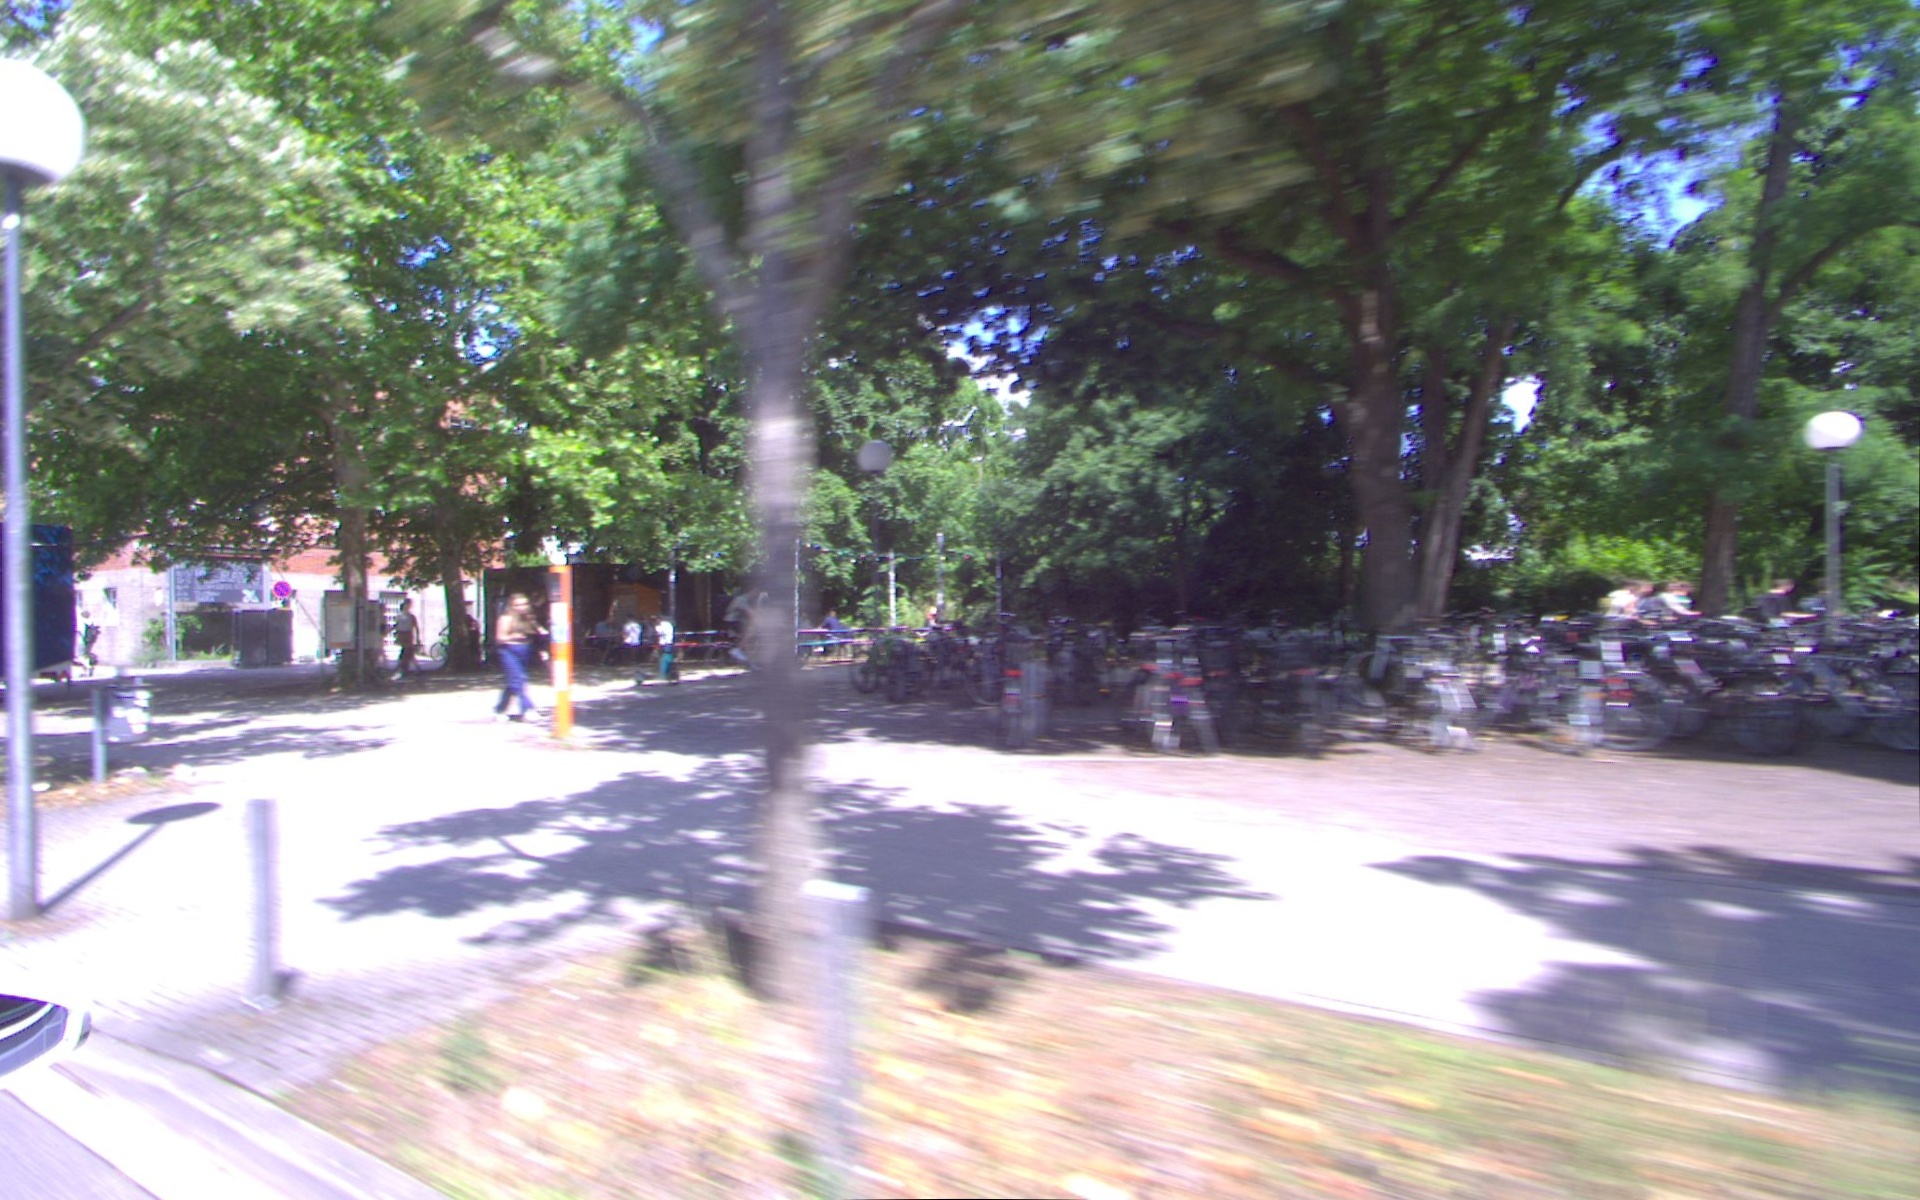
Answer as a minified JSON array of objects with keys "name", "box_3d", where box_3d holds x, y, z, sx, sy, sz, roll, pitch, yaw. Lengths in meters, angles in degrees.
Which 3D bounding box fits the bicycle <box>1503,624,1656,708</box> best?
[{"name":"bicycle","box_3d":[8.144,0.838,13.264,0.470,0.992,1.900,-1,0,-16]}]

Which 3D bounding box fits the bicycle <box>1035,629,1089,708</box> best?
[{"name":"bicycle","box_3d":[1.460,0.929,14.118,0.601,0.992,1.903,-1,0,10]}]

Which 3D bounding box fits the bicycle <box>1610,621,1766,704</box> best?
[{"name":"bicycle","box_3d":[9.659,0.791,13.377,0.469,0.992,1.902,-1,0,-10]}]

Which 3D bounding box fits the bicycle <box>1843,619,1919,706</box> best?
[{"name":"bicycle","box_3d":[12.528,0.808,12.929,0.469,1.097,1.903,-1,0,-4]}]

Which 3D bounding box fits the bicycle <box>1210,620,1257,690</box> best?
[{"name":"bicycle","box_3d":[4.238,0.825,15.602,0.469,0.992,1.903,-1,0,9]}]

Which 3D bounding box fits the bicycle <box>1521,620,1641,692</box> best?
[{"name":"bicycle","box_3d":[9.504,0.831,15.402,0.469,0.992,1.903,-1,0,-7]}]

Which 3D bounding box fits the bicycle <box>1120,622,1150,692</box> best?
[{"name":"bicycle","box_3d":[2.769,0.876,15.852,0.413,0.992,1.903,-1,0,10]}]

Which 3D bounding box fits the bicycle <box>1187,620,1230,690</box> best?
[{"name":"bicycle","box_3d":[3.881,0.833,15.702,0.469,0.992,1.903,-1,0,9]}]

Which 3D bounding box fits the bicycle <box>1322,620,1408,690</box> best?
[{"name":"bicycle","box_3d":[6.371,0.834,15.842,0.526,0.992,1.903,-1,0,-2]}]

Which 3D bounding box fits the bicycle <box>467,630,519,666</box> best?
[{"name":"bicycle","box_3d":[-15.610,1.592,33.467,1.997,1.154,0.572,-1,-1,32]}]

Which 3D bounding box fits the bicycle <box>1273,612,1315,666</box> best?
[{"name":"bicycle","box_3d":[7.188,0.819,21.603,0.469,1.108,1.753,-1,0,6]}]

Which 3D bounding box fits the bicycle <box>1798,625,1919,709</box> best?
[{"name":"bicycle","box_3d":[11.926,0.845,12.921,0.469,0.992,1.903,-1,0,-7]}]

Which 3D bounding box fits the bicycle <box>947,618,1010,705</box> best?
[{"name":"bicycle","box_3d":[0.296,0.846,14.380,0.601,1.133,1.903,-1,0,10]}]

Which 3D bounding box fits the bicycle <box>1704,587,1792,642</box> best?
[{"name":"bicycle","box_3d":[16.619,0.292,21.155,0.469,1.108,1.611,-1,0,-6]}]

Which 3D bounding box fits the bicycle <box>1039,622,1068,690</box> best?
[{"name":"bicycle","box_3d":[1.508,0.885,16.312,0.413,0.992,1.903,-1,0,4]}]

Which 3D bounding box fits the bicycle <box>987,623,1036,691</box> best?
[{"name":"bicycle","box_3d":[0.863,0.897,16.353,0.469,0.992,1.902,-1,0,12]}]

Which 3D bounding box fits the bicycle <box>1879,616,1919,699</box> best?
[{"name":"bicycle","box_3d":[13.105,0.770,13.017,0.469,1.097,1.903,-1,0,-4]}]

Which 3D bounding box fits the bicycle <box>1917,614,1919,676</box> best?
[{"name":"bicycle","box_3d":[15.534,0.710,15.133,0.371,0.992,1.903,-1,0,2]}]

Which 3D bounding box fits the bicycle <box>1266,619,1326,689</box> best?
[{"name":"bicycle","box_3d":[5.220,0.808,15.637,0.601,0.992,1.903,-1,0,10]}]

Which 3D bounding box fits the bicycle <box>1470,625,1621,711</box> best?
[{"name":"bicycle","box_3d":[7.601,0.847,13.105,0.470,0.992,1.900,-1,0,-16]}]

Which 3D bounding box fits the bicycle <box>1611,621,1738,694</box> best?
[{"name":"bicycle","box_3d":[10.731,0.834,15.121,0.371,0.992,1.903,-1,0,-7]}]

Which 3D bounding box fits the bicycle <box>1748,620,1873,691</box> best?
[{"name":"bicycle","box_3d":[13.092,0.818,15.482,0.371,0.992,1.903,-1,0,2]}]

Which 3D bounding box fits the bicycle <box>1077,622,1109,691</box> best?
[{"name":"bicycle","box_3d":[2.130,0.879,16.142,0.469,0.992,1.903,-1,0,7]}]

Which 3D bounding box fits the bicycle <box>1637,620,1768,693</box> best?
[{"name":"bicycle","box_3d":[11.141,0.814,15.104,0.371,0.992,1.903,-1,0,-7]}]

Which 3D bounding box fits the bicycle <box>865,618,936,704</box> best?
[{"name":"bicycle","box_3d":[-0.835,0.844,14.518,0.601,1.133,1.808,-1,0,10]}]

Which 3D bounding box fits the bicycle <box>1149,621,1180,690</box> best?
[{"name":"bicycle","box_3d":[3.244,0.848,15.939,0.413,0.992,1.903,-1,0,10]}]

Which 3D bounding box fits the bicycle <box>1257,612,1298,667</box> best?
[{"name":"bicycle","box_3d":[6.847,0.825,21.633,0.469,1.108,1.753,-1,0,6]}]

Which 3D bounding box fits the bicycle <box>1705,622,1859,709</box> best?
[{"name":"bicycle","box_3d":[10.598,0.810,12.999,0.469,0.992,1.903,-1,0,2]}]

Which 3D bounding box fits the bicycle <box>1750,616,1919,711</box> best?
[{"name":"bicycle","box_3d":[11.187,0.767,12.853,0.469,1.097,1.903,-1,0,-4]}]

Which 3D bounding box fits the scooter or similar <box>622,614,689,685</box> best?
[{"name":"scooter or similar","box_3d":[-5.474,0.877,17.987,1.276,1.234,0.423,-1,-1,33]}]

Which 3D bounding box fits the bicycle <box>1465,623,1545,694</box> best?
[{"name":"bicycle","box_3d":[8.390,0.869,15.488,0.434,0.992,1.903,-1,0,8]}]

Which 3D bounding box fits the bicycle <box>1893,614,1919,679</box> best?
[{"name":"bicycle","box_3d":[15.108,0.728,15.080,0.371,0.992,1.903,-1,0,2]}]

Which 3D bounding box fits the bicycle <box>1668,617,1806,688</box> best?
[{"name":"bicycle","box_3d":[11.851,0.775,15.363,0.469,0.992,1.903,-1,0,-7]}]

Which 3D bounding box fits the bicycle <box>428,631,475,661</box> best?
[{"name":"bicycle","box_3d":[-18.935,1.694,37.313,0.609,1.094,2.027,0,-1,4]}]

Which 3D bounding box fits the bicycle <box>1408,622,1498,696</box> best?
[{"name":"bicycle","box_3d":[7.419,0.858,15.151,0.469,0.992,1.903,-1,0,2]}]

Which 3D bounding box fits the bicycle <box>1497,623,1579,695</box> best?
[{"name":"bicycle","box_3d":[8.879,0.877,15.447,0.300,0.992,1.885,-1,0,4]}]

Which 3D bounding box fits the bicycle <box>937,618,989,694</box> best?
[{"name":"bicycle","box_3d":[0.078,0.907,16.800,0.469,1.158,1.902,-1,0,12]}]

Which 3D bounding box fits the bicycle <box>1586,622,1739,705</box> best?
[{"name":"bicycle","box_3d":[9.270,0.805,13.313,0.469,0.992,1.902,-1,0,-10]}]

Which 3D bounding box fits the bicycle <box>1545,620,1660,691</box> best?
[{"name":"bicycle","box_3d":[9.932,0.826,15.569,0.371,0.992,1.903,-1,0,-7]}]

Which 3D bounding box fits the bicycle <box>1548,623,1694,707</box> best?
[{"name":"bicycle","box_3d":[8.742,0.831,13.346,0.469,0.992,1.902,-1,0,-9]}]
